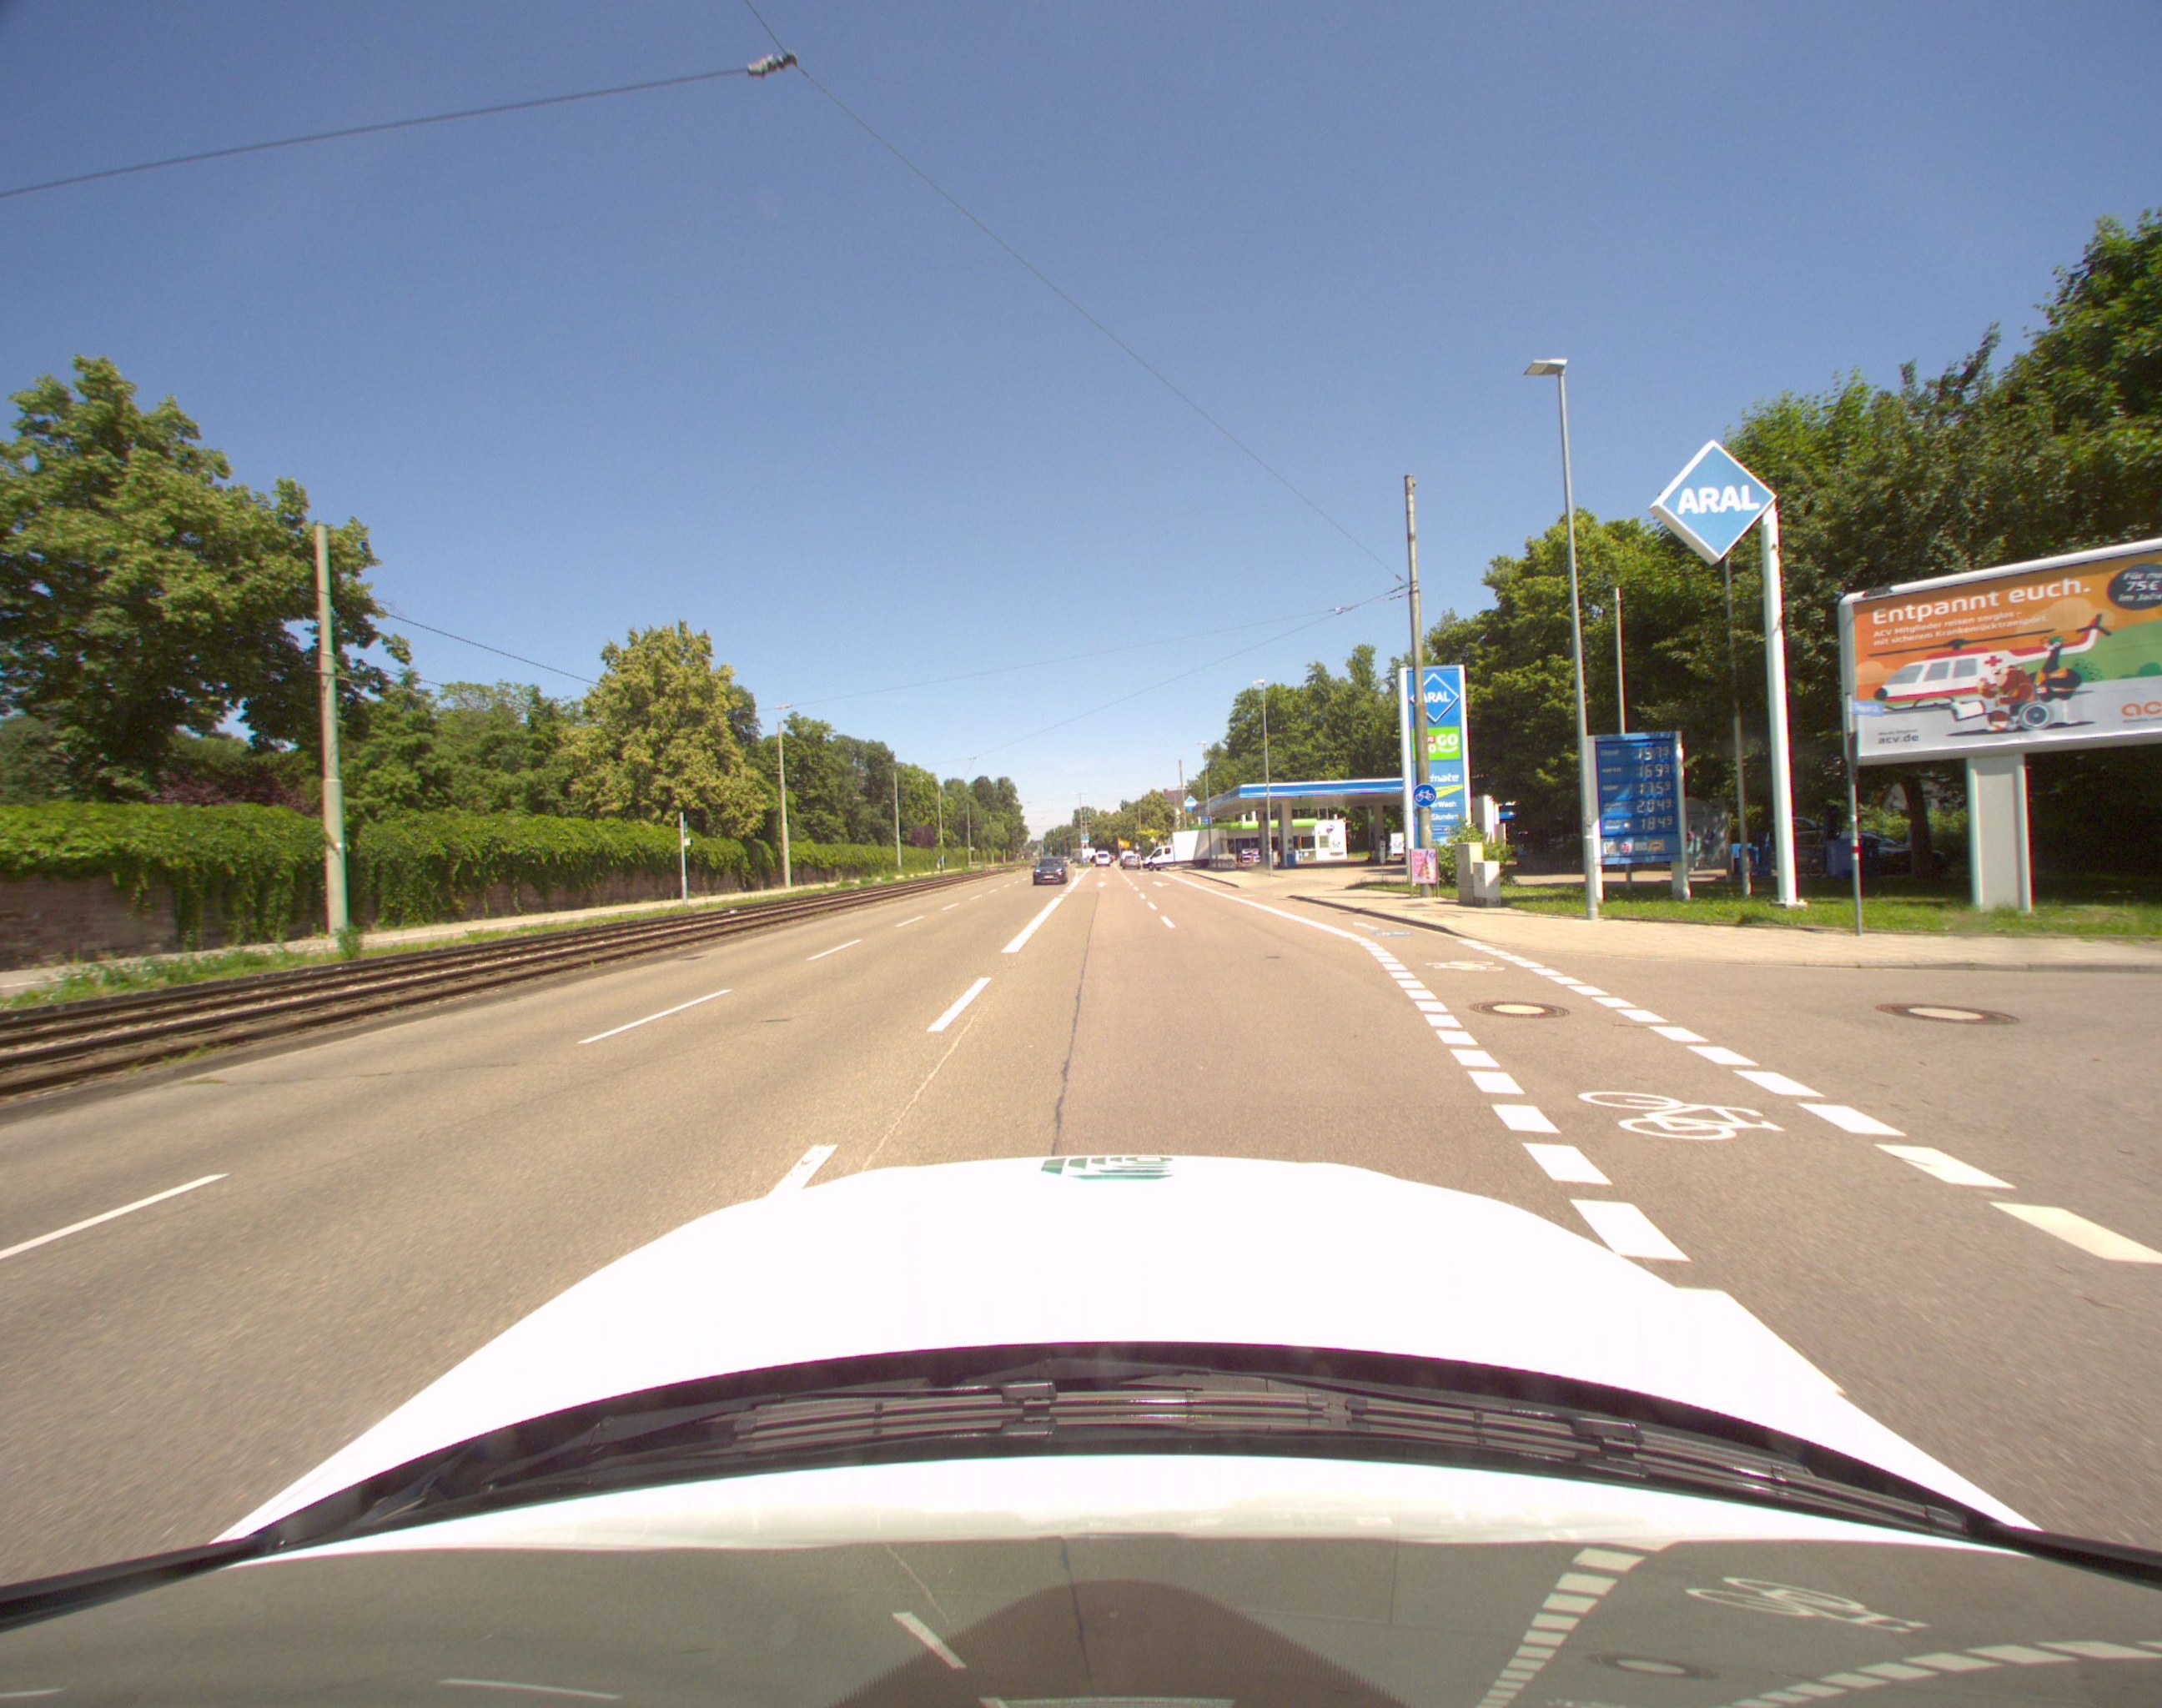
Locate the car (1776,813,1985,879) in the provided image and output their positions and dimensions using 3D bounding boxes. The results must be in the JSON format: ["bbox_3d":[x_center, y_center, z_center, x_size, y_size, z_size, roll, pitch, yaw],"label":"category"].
[{"bbox_3d":[22.972,-0.186,23.705,1.983,1.662,4.418,-2,-1,6],"label":"car"}]

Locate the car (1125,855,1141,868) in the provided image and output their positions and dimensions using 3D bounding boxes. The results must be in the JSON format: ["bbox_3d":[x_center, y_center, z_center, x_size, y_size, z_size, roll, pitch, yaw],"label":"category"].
[{"bbox_3d":[5.746,0.806,90.129,1.600,1.451,3.523,0,0,2],"label":"car"}]

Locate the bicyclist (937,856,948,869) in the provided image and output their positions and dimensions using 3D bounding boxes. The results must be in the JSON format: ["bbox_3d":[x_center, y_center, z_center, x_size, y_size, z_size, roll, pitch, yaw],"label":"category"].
[{"bbox_3d":[-15.972,1.001,93.936,0.991,1.486,1.000,-2,0,0],"label":"bicyclist"}]

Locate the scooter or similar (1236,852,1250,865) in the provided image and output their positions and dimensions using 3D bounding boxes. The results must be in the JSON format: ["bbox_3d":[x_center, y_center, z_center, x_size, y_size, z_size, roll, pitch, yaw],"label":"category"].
[{"bbox_3d":[15.172,0.458,76.230,1.131,1.176,0.384,-2,0,2],"label":"scooter or similar"}]

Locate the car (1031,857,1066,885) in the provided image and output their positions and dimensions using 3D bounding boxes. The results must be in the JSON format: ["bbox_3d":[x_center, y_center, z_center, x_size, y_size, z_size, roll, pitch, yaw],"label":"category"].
[{"bbox_3d":[-1.745,0.900,45.011,1.708,1.422,4.140,-2,0,-1],"label":"car"}]

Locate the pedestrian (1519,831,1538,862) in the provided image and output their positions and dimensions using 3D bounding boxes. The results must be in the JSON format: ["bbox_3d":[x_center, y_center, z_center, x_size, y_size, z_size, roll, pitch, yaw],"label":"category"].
[{"bbox_3d":[27.614,-0.446,50.257,0.622,1.888,0.837,-2,1,1],"label":"pedestrian"}]

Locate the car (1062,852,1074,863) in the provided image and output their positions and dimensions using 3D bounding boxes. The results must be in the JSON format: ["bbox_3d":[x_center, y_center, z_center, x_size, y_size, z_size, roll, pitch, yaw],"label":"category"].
[{"bbox_3d":[-2.364,0.676,149.654,1.990,2.013,3.993,-2,0,-5],"label":"car"}]

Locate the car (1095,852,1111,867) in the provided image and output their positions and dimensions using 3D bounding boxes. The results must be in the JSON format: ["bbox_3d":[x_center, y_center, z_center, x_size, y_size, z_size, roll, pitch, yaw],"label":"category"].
[{"bbox_3d":[2.694,0.649,98.500,1.860,1.836,3.849,0,0,1],"label":"car"}]

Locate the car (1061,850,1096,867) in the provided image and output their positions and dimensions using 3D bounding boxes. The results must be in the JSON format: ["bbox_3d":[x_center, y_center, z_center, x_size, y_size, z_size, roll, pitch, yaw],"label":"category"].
[{"bbox_3d":[-0.405,0.762,136.128,2.717,2.516,6.152,-2,0,-37],"label":"car"}]

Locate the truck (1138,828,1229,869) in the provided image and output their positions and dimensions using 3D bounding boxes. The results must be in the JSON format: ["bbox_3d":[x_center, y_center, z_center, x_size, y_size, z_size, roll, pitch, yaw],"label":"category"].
[{"bbox_3d":[9.281,-0.475,73.897,7.736,3.391,2.442,-2,0,25],"label":"truck"}]

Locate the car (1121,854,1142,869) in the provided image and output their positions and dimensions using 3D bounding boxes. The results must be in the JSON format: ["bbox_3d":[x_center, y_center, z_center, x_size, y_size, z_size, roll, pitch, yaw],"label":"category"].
[{"bbox_3d":[5.129,0.771,83.048,1.765,1.420,3.998,-2,0,-1],"label":"car"}]

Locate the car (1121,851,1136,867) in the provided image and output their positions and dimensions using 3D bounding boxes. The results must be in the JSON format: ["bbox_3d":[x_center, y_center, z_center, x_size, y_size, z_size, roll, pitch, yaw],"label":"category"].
[{"bbox_3d":[5.764,0.594,99.784,1.704,1.830,4.015,-2,0,2],"label":"car"}]

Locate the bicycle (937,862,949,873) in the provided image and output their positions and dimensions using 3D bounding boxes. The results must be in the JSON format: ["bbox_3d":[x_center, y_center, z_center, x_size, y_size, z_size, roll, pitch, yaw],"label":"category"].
[{"bbox_3d":[-15.955,1.515,93.993,0.825,1.156,2.686,-2,0,1],"label":"bicycle"}]
